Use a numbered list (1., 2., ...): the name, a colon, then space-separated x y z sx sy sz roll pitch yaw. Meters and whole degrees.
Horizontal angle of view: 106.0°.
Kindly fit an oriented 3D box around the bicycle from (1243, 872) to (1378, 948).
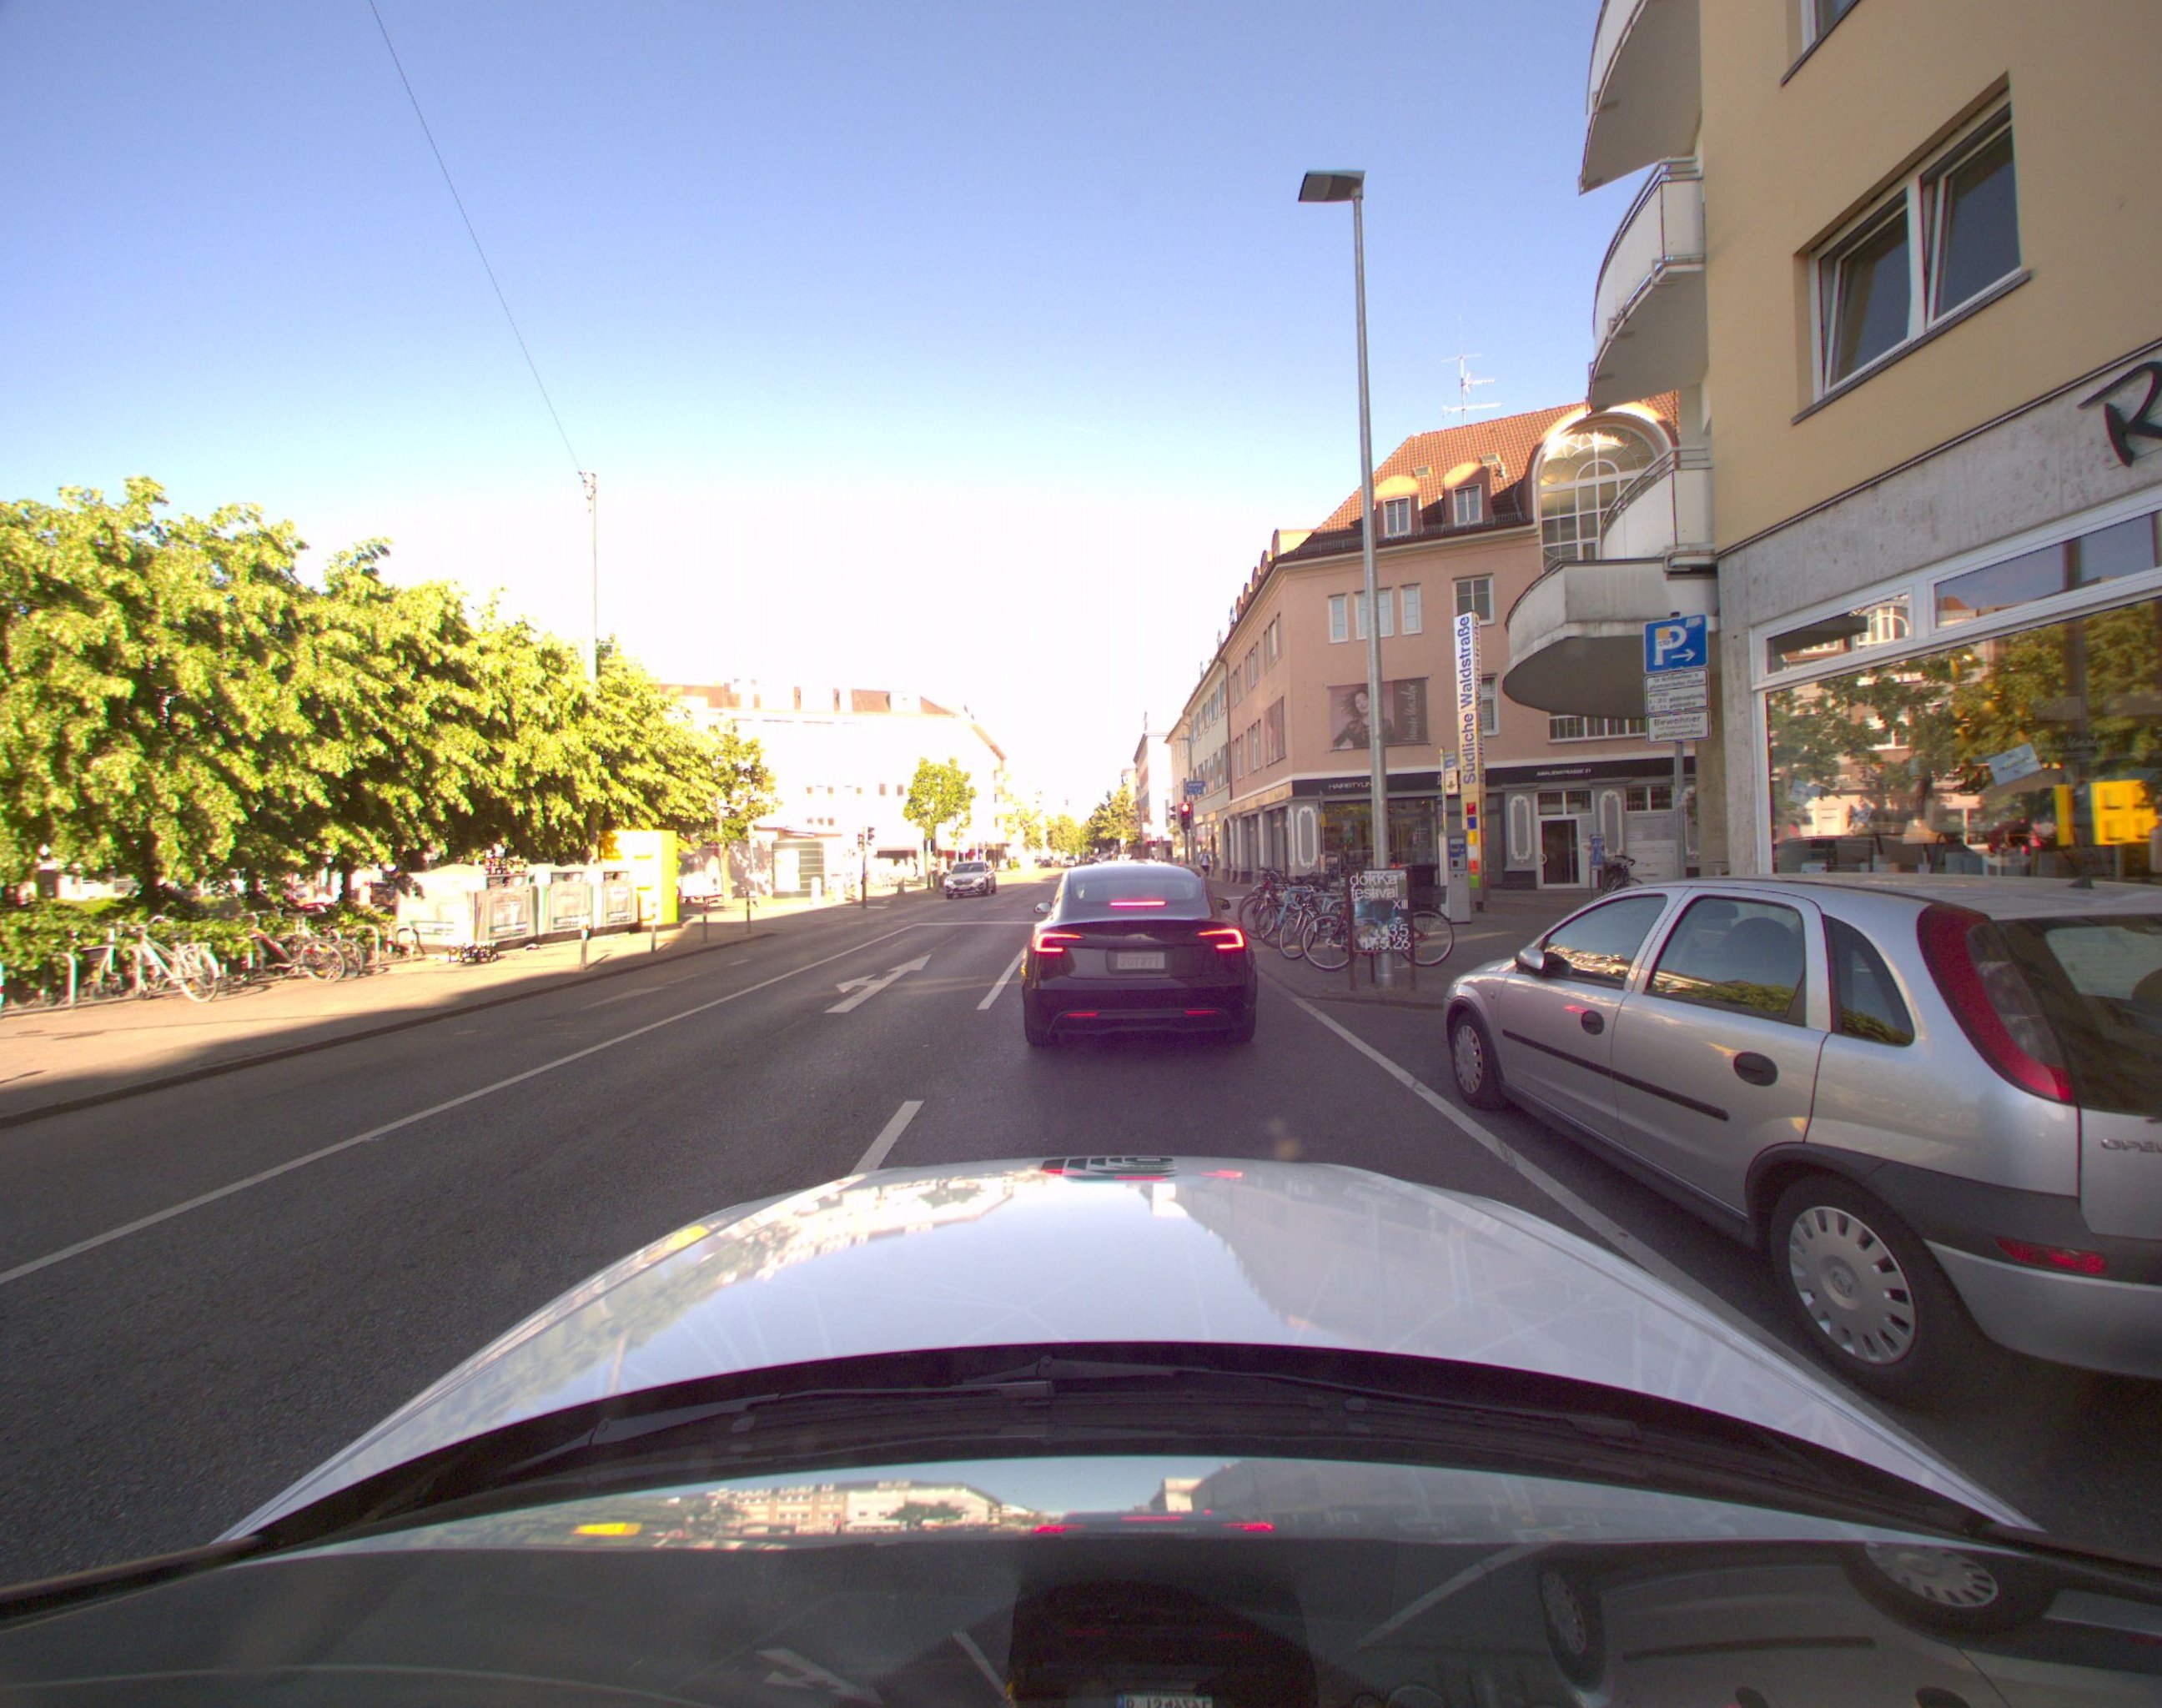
1. bicycle: 3.484 0.854 12.462 1.864 1.038 0.534 -3 -1 5

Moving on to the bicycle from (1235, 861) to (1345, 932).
1. bicycle: 3.772 0.763 14.782 1.818 1.169 0.507 -3 -1 7

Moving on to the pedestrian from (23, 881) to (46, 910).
1. pedestrian: -77.972 3.084 60.684 0.891 2.171 0.882 -1 -1 26

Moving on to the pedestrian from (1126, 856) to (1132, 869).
1. pedestrian: 5.661 0.984 95.330 0.524 1.422 0.475 0 -1 -28

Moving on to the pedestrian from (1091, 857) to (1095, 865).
1. pedestrian: 3.017 1.718 202.138 0.927 2.014 0.939 0 -1 1

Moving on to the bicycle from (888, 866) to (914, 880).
1. bicycle: -17.352 1.821 78.448 2.373 1.296 0.509 0 -1 -25

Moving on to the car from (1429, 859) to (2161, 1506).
1. car: 2.953 0.731 3.509 1.540 1.390 3.479 -1 -1 3

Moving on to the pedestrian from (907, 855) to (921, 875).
1. pedestrian: -16.828 1.123 81.905 1.059 2.014 1.049 0 -1 -34

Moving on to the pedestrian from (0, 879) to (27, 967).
1. pedestrian: -25.430 1.588 18.726 1.051 2.014 0.971 0 -1 -10

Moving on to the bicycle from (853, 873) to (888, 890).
1. bicycle: -12.349 1.617 47.769 1.857 0.934 0.606 0 -1 0

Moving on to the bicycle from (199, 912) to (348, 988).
1. bicycle: -11.529 1.352 11.637 1.913 1.003 0.518 -1 -1 11

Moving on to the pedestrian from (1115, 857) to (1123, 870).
1. pedestrian: 4.856 1.207 103.866 0.719 1.695 0.843 -1 0 -26

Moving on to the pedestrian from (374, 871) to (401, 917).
1. pedestrian: -19.038 1.088 22.346 0.426 1.218 0.522 -1 -1 44

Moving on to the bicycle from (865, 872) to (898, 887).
1. bicycle: -12.301 1.563 50.231 1.857 0.934 0.606 0 -1 0

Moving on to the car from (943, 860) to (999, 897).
1. car: -4.861 1.048 36.433 1.782 1.460 3.759 -4 -1 2

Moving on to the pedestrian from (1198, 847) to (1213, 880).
1. pedestrian: 6.699 0.517 43.840 0.747 1.765 0.838 0 -1 6

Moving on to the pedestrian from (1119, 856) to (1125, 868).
1. pedestrian: 4.858 0.913 95.787 0.474 1.417 0.517 -1 0 -29

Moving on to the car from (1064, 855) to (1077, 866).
1. car: -1.520 0.980 123.339 1.780 1.646 4.404 0 -1 2

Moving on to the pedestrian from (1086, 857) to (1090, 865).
1. pedestrian: 1.737 1.729 202.256 0.927 2.014 0.939 0 -1 1

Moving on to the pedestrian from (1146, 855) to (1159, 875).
1. pedestrian: 6.076 0.917 69.291 0.756 1.631 0.951 0 -1 -16

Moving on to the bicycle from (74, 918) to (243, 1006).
1. bicycle: -11.628 1.340 10.271 1.919 1.015 0.518 -1 -1 12

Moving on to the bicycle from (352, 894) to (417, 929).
1. bicycle: -19.062 1.554 22.311 0.437 0.868 1.322 -1 -1 44

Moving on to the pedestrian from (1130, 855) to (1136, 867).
1. pedestrian: 6.109 0.830 95.869 0.524 1.422 0.475 0 -1 -28

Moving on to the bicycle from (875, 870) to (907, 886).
1. bicycle: -12.274 1.544 52.579 1.857 0.934 0.606 -1 0 0

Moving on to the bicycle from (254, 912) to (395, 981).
1. bicycle: -11.326 1.372 12.195 1.888 0.955 0.518 -1 -1 11

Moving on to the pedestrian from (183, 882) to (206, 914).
1. pedestrian: -48.867 2.431 44.887 0.842 1.717 0.761 -2 -1 35

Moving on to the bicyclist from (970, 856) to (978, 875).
1. bicyclist: -8.751 0.936 66.518 0.525 1.503 0.472 0 -1 -24

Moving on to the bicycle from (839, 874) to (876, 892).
1. bicycle: -12.487 1.629 45.516 1.857 0.934 0.606 -1 0 0

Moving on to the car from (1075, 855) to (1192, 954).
1. car: 0.790 0.751 13.942 1.712 1.425 3.757 -1 0 0

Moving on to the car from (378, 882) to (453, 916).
1. car: -29.691 1.964 36.318 3.526 1.386 1.703 -1 0 36

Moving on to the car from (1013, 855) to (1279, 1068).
1. car: 0.512 0.762 7.641 1.815 1.442 4.001 -1 -1 2

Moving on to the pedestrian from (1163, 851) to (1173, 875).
1. pedestrian: 6.535 0.670 61.248 0.704 1.742 0.540 -1 0 1

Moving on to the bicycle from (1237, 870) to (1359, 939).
1. bicycle: 3.609 0.841 13.661 1.863 1.038 0.548 -3 -1 7

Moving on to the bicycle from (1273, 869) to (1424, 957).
1. bicycle: 3.645 0.809 11.183 1.864 1.087 0.415 -3 -1 5

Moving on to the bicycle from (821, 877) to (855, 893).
1. bicycle: -12.844 1.634 43.074 1.640 0.792 0.606 0 -1 -3

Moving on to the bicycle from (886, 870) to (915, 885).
1. bicycle: -12.194 1.563 55.028 1.857 0.934 0.606 -1 0 0

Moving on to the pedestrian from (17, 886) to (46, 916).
1. pedestrian: -73.714 3.278 57.214 0.904 2.014 0.870 0 -1 -25

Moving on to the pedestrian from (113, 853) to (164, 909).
1. pedestrian: -34.458 0.976 29.795 0.890 2.013 0.893 -1 0 15

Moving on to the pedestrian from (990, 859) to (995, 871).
1. pedestrian: -10.209 1.258 94.163 0.459 1.460 0.517 -1 0 -3

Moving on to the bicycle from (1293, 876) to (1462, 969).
1. bicycle: 3.619 0.840 10.024 1.862 1.038 0.354 -3 -1 8
